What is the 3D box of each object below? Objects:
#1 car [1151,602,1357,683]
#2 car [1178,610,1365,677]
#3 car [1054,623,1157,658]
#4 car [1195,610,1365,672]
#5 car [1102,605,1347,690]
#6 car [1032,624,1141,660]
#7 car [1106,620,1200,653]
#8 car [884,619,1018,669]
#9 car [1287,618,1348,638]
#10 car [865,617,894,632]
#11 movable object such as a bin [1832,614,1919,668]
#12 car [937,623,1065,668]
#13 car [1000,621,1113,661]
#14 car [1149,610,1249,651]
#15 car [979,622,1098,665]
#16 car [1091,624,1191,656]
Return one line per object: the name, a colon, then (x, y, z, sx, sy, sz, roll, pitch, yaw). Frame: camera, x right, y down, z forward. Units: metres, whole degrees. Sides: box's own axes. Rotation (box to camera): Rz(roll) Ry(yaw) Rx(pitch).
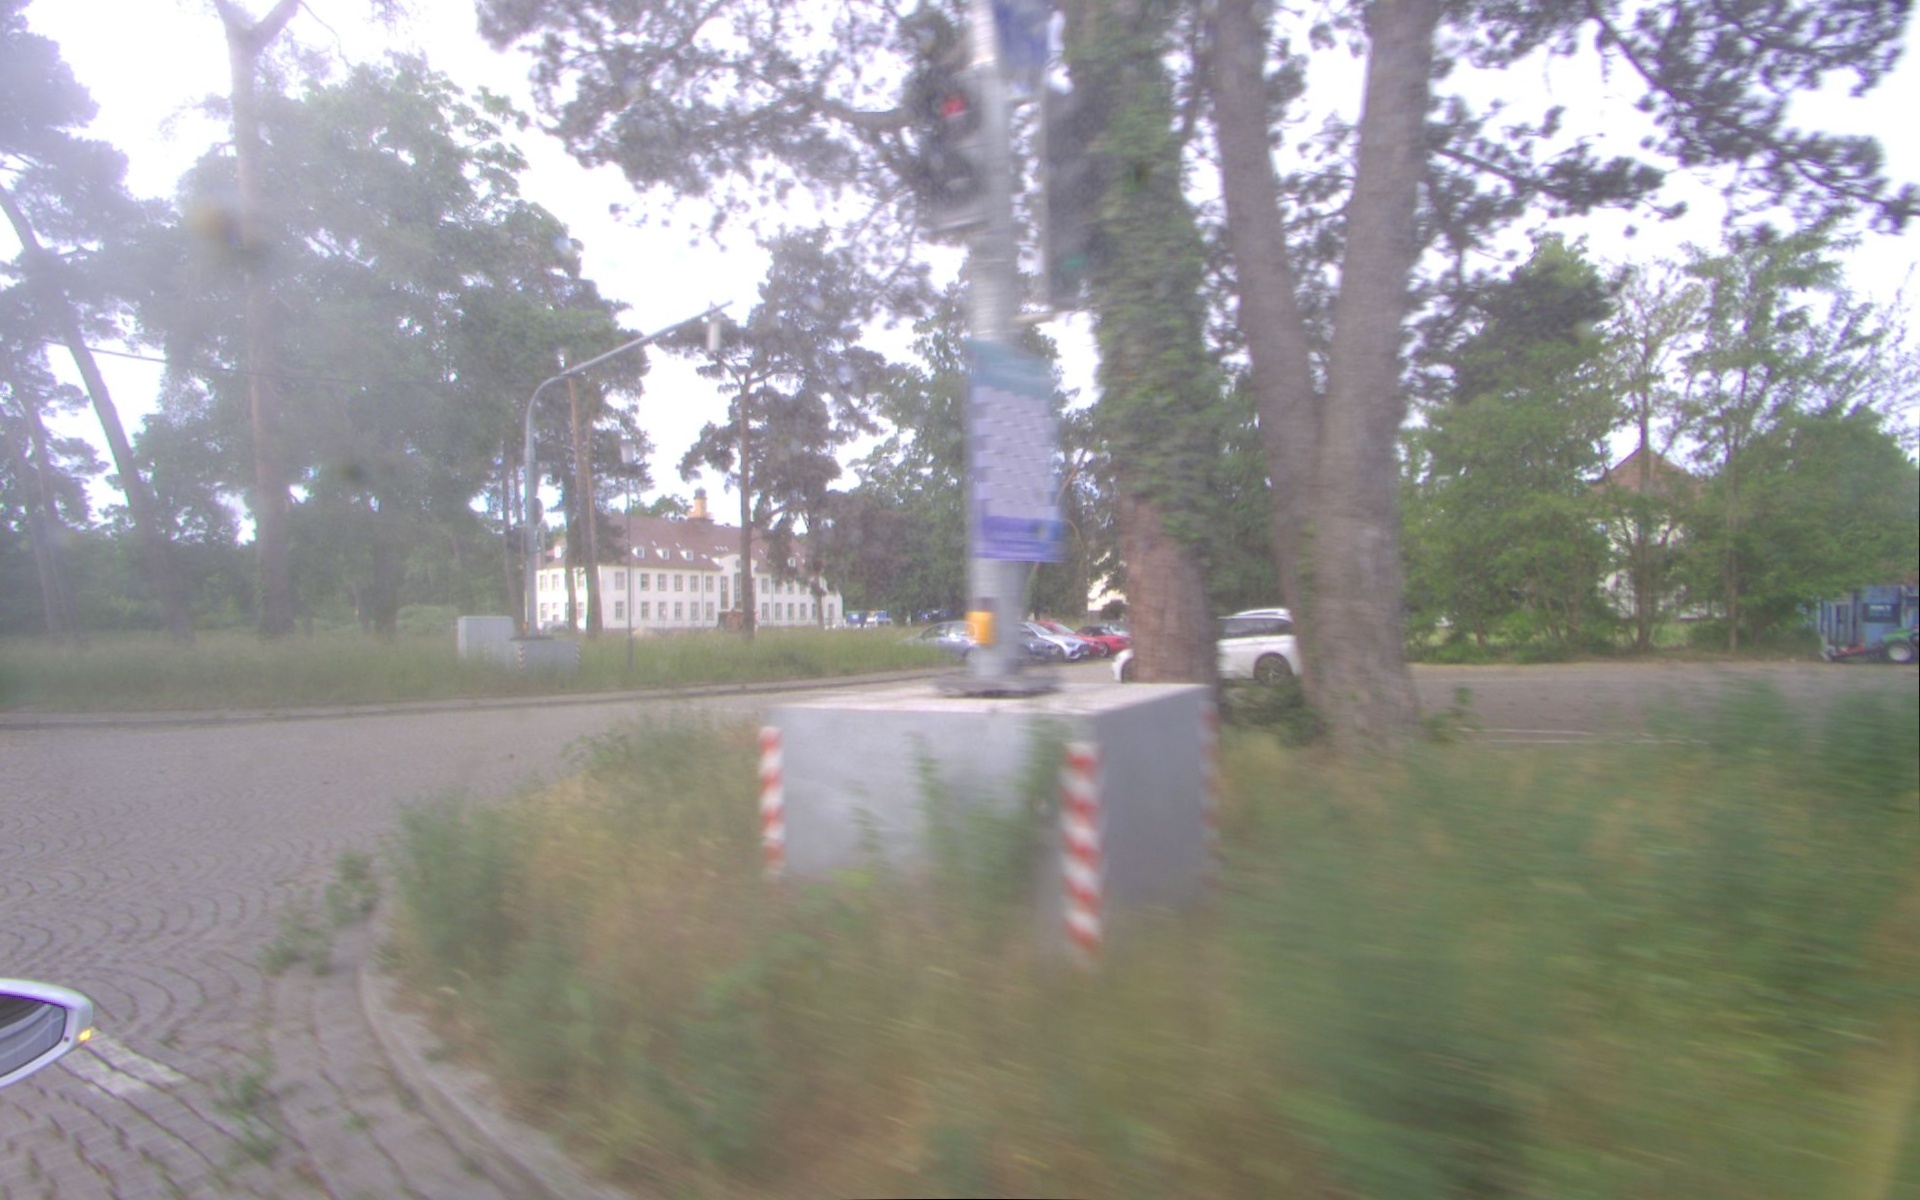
car: (6.727, 1.004, 23.009, 4.182, 1.625, 1.780, -4, -2, 30)
car: (7.863, 1.115, 25.400, 4.187, 1.504, 1.697, -4, -2, 34)
car: (6.322, 1.734, 43.662, 4.191, 1.491, 1.727, -1, -1, 38)
car: (8.903, 1.164, 27.986, 4.187, 1.504, 1.697, -4, -2, 34)
car: (5.430, 1.028, 20.704, 4.542, 1.504, 1.847, -4, -4, 30)
car: (5.185, 1.685, 41.278, 4.191, 1.408, 1.727, -1, -1, 38)
car: (9.321, 1.739, 48.478, 4.191, 1.521, 1.610, -1, -1, 38)
car: (-0.327, 1.403, 32.840, 4.185, 1.528, 1.730, -1, -1, 34)
car: (27.709, 2.157, 77.670, 4.184, 1.541, 1.730, -1, -1, 33)
car: (-10.826, 3.358, 134.597, 1.900, 1.929, 4.057, -1, -3, 30)
movable object such as a bin: (20.632, 0.900, 21.872, 2.176, 1.148, 0.960, -1, -2, 24)
car: (1.411, 1.538, 34.846, 4.185, 1.487, 1.730, -1, -1, 34)
car: (3.771, 1.580, 39.425, 4.191, 1.487, 1.727, -1, -1, 38)
car: (12.574, 1.593, 52.863, 4.725, 2.052, 2.131, -1, -1, 34)
car: (2.876, 1.581, 37.182, 4.191, 1.487, 1.727, -1, -1, 38)
car: (8.246, 1.811, 45.747, 4.191, 1.408, 1.727, -1, -1, 38)
